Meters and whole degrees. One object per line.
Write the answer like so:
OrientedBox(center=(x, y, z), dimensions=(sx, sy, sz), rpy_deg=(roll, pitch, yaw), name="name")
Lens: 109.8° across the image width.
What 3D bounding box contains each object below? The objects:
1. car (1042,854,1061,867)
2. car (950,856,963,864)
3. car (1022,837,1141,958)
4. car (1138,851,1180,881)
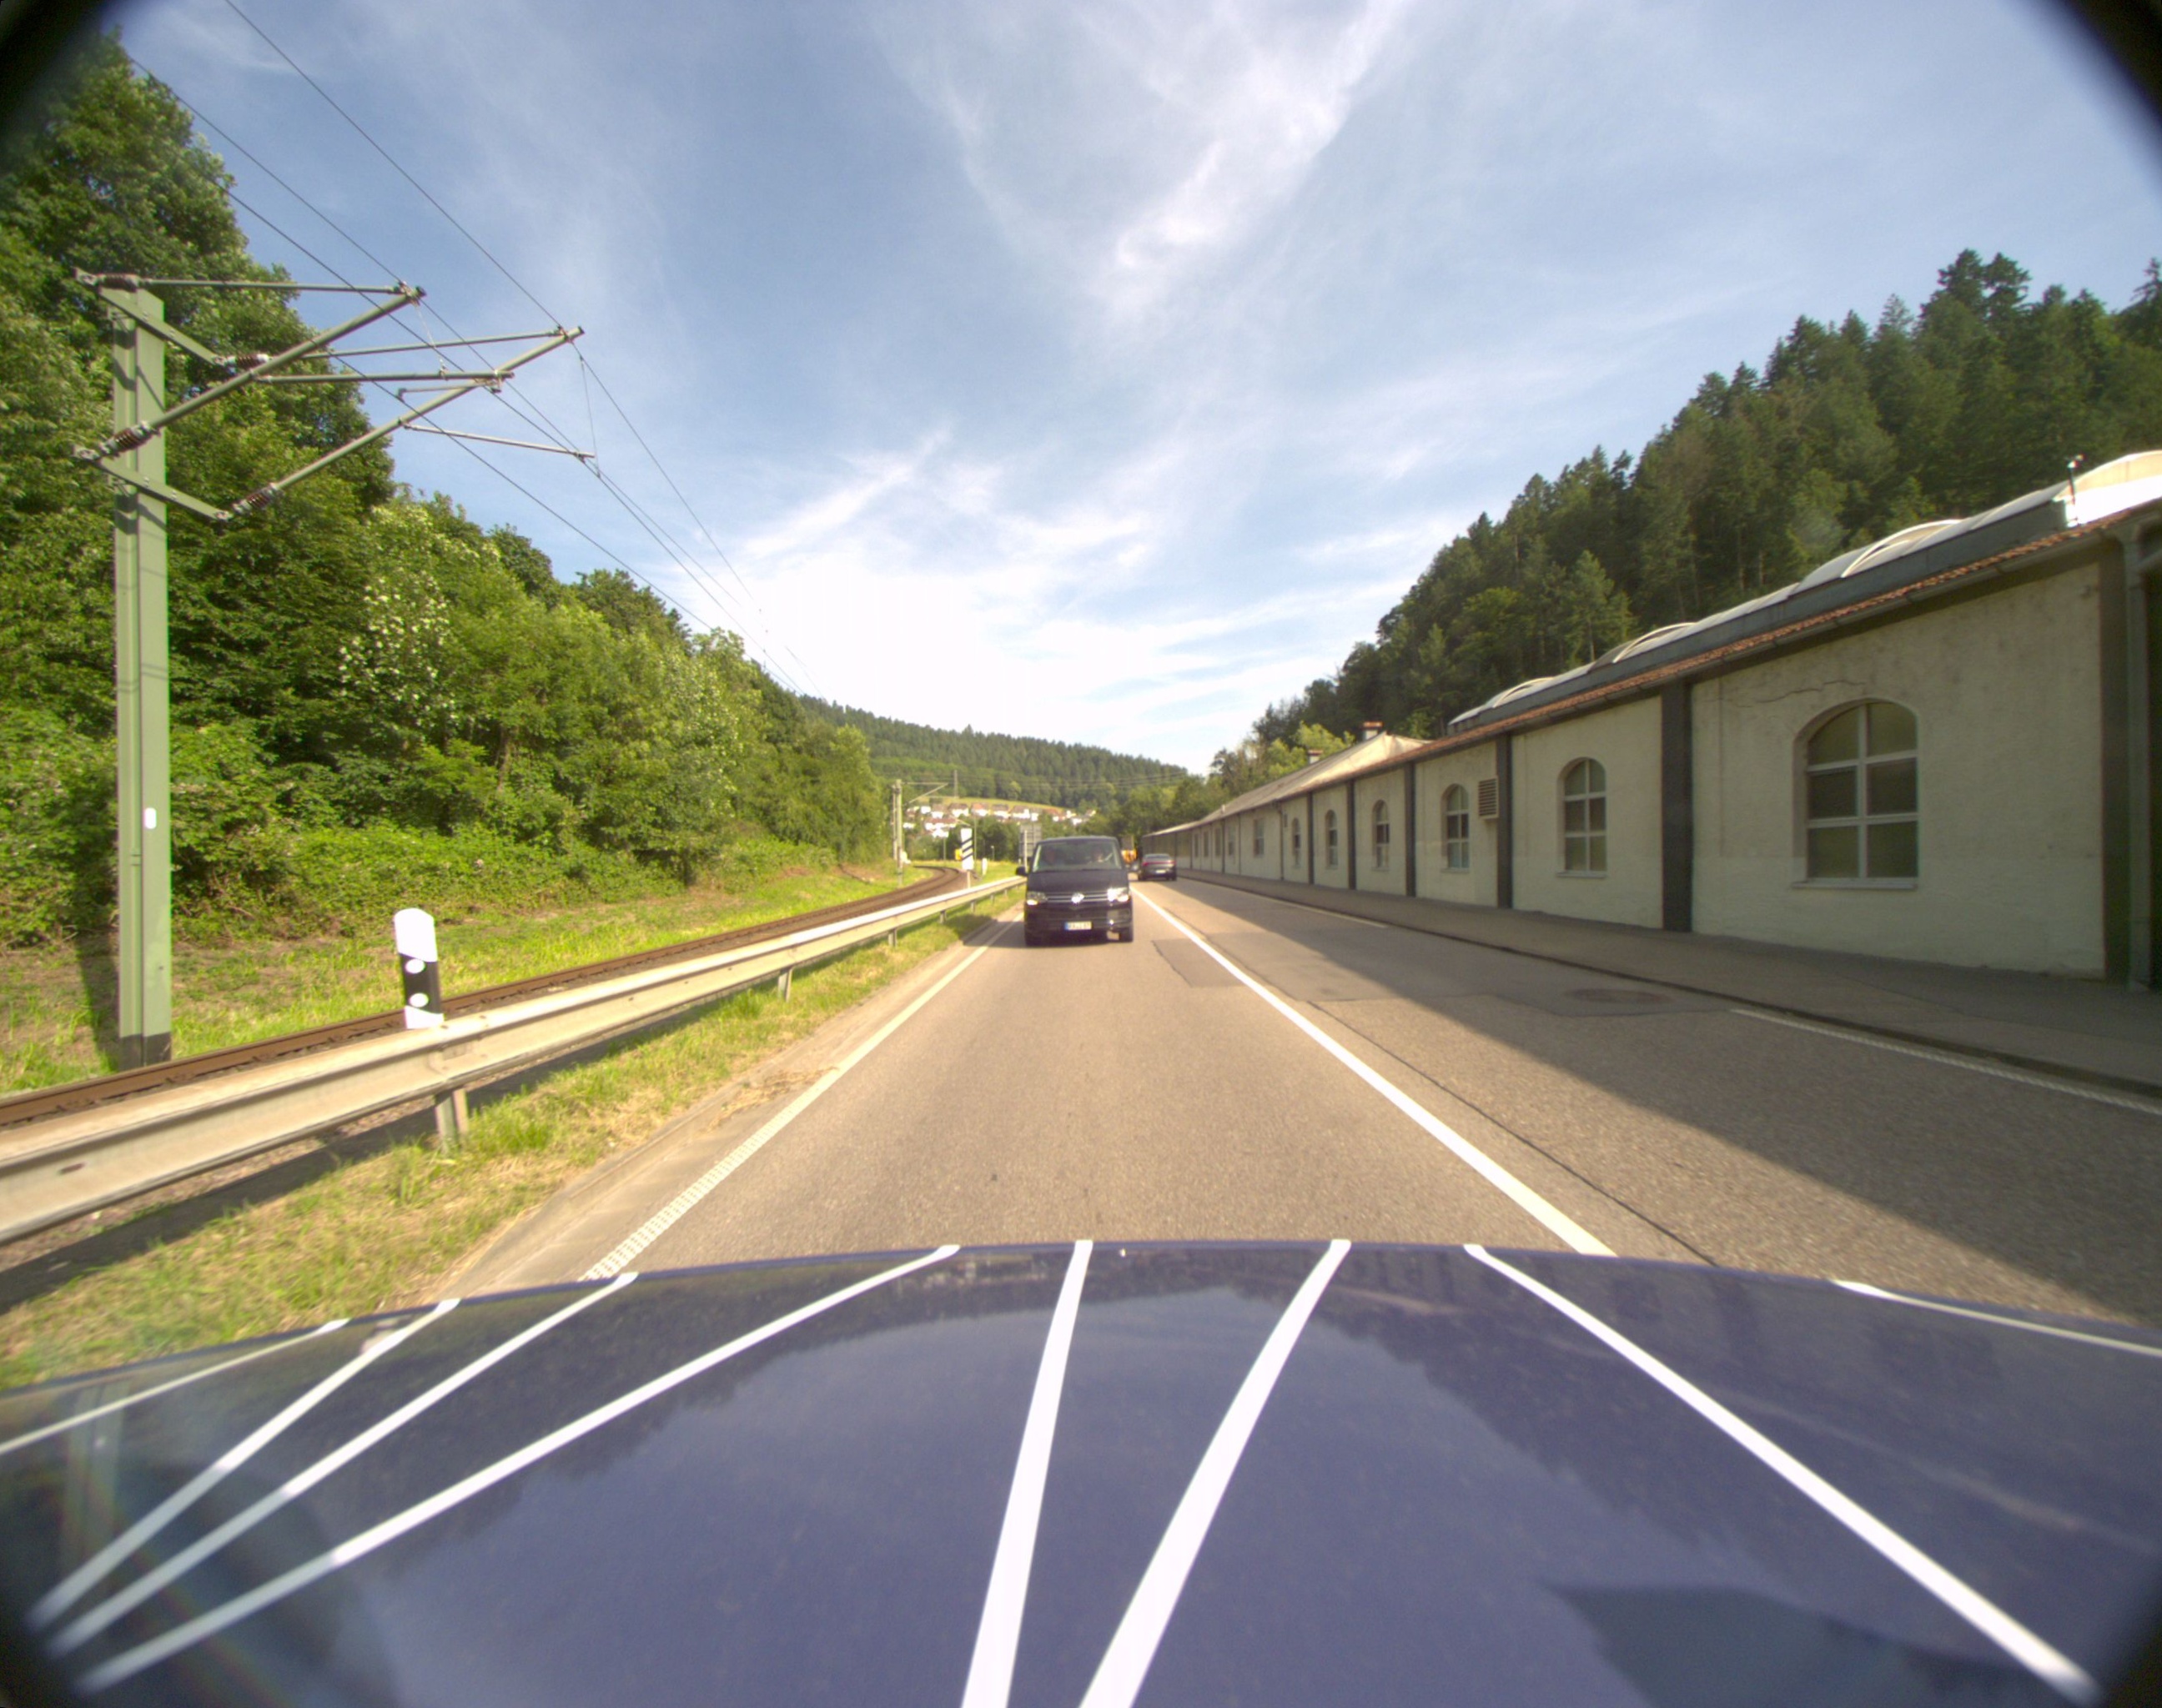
OrientedBox(center=(-3.799, 0.837, 98.564), dimensions=(1.874, 1.583, 4.048), rpy_deg=(-3, 0, -10), name="car")
OrientedBox(center=(-31.355, 1.516, 191.721), dimensions=(2.003, 2.002, 3.991), rpy_deg=(-3, 1, -28), name="car")
OrientedBox(center=(-0.085, 0.708, 15.088), dimensions=(1.901, 1.927, 5.187), rpy_deg=(-2, 0, -2), name="car")
OrientedBox(center=(4.426, 0.637, 43.852), dimensions=(1.934, 1.572, 4.458), rpy_deg=(-3, 0, 1), name="car")
